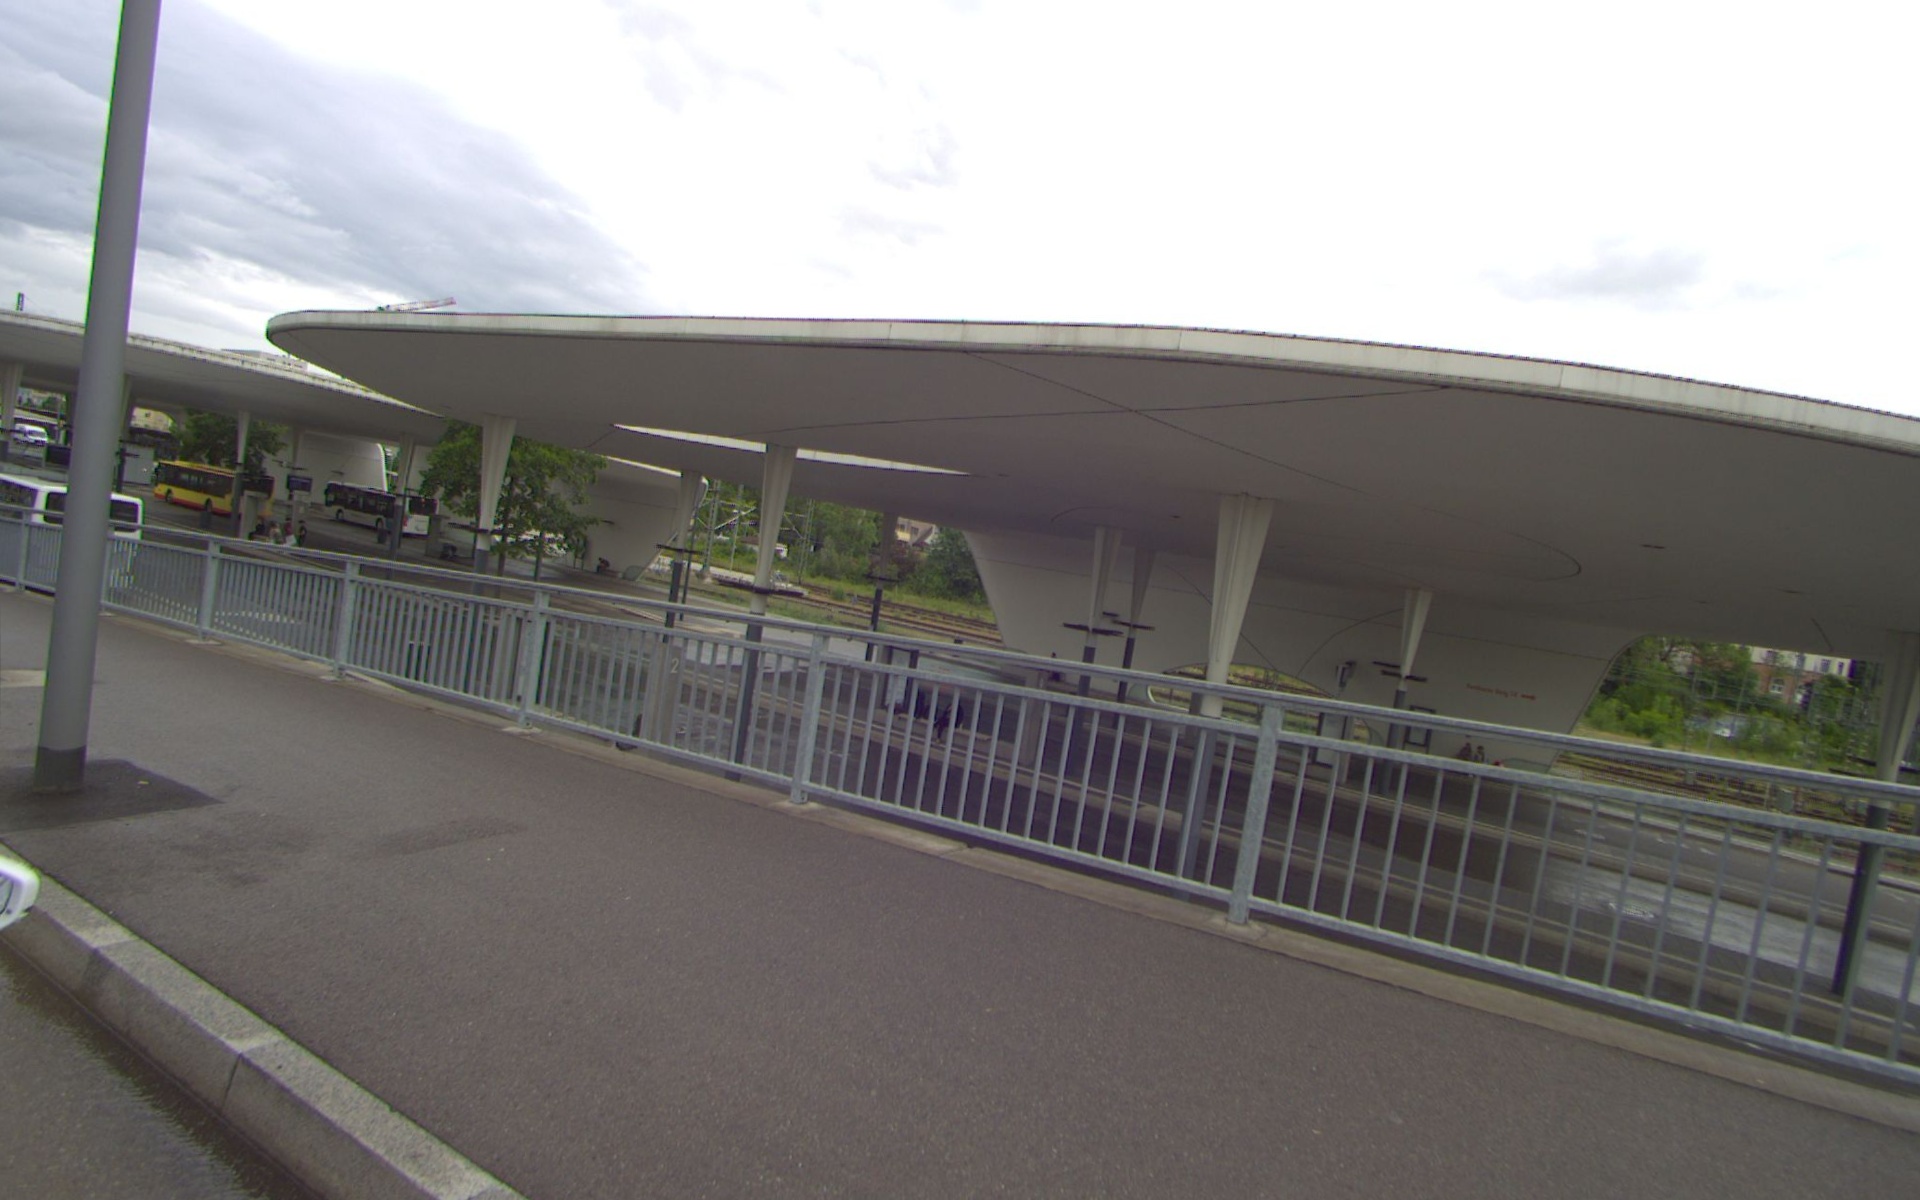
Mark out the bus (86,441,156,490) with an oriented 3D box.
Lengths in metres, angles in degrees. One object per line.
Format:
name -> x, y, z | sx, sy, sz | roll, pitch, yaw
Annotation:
bus -> -70.448, -11.333, 84.424 | 6.880, 3.252, 2.600 | 9, 3, 34

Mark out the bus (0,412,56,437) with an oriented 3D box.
bus -> -119.564, -22.374, 125.314 | 2.133, 2.039, 10.183 | 8, 1, 29

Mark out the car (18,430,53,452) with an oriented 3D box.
car -> -109.561, -18.890, 119.215 | 3.933, 2.040, 1.995 | 9, 2, 32

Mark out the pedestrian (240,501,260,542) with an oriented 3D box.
pedestrian -> -36.482, -4.032, 51.675 | 0.570, 2.040, 0.544 | 8, 2, 33

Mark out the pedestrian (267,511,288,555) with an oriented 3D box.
pedestrian -> -33.492, -3.279, 49.348 | 0.475, 2.040, 0.560 | 8, 2, 34

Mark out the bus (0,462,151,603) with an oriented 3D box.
bus -> -27.978, -2.192, 30.583 | 6.948, 3.279, 2.649 | 12, 4, 29

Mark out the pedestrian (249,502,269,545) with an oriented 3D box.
pedestrian -> -35.413, -3.862, 50.821 | 0.570, 2.040, 0.544 | 8, 2, 33

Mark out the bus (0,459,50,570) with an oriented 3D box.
bus -> -34.059, -3.283, 33.962 | 6.948, 3.279, 2.649 | 12, 4, 29
